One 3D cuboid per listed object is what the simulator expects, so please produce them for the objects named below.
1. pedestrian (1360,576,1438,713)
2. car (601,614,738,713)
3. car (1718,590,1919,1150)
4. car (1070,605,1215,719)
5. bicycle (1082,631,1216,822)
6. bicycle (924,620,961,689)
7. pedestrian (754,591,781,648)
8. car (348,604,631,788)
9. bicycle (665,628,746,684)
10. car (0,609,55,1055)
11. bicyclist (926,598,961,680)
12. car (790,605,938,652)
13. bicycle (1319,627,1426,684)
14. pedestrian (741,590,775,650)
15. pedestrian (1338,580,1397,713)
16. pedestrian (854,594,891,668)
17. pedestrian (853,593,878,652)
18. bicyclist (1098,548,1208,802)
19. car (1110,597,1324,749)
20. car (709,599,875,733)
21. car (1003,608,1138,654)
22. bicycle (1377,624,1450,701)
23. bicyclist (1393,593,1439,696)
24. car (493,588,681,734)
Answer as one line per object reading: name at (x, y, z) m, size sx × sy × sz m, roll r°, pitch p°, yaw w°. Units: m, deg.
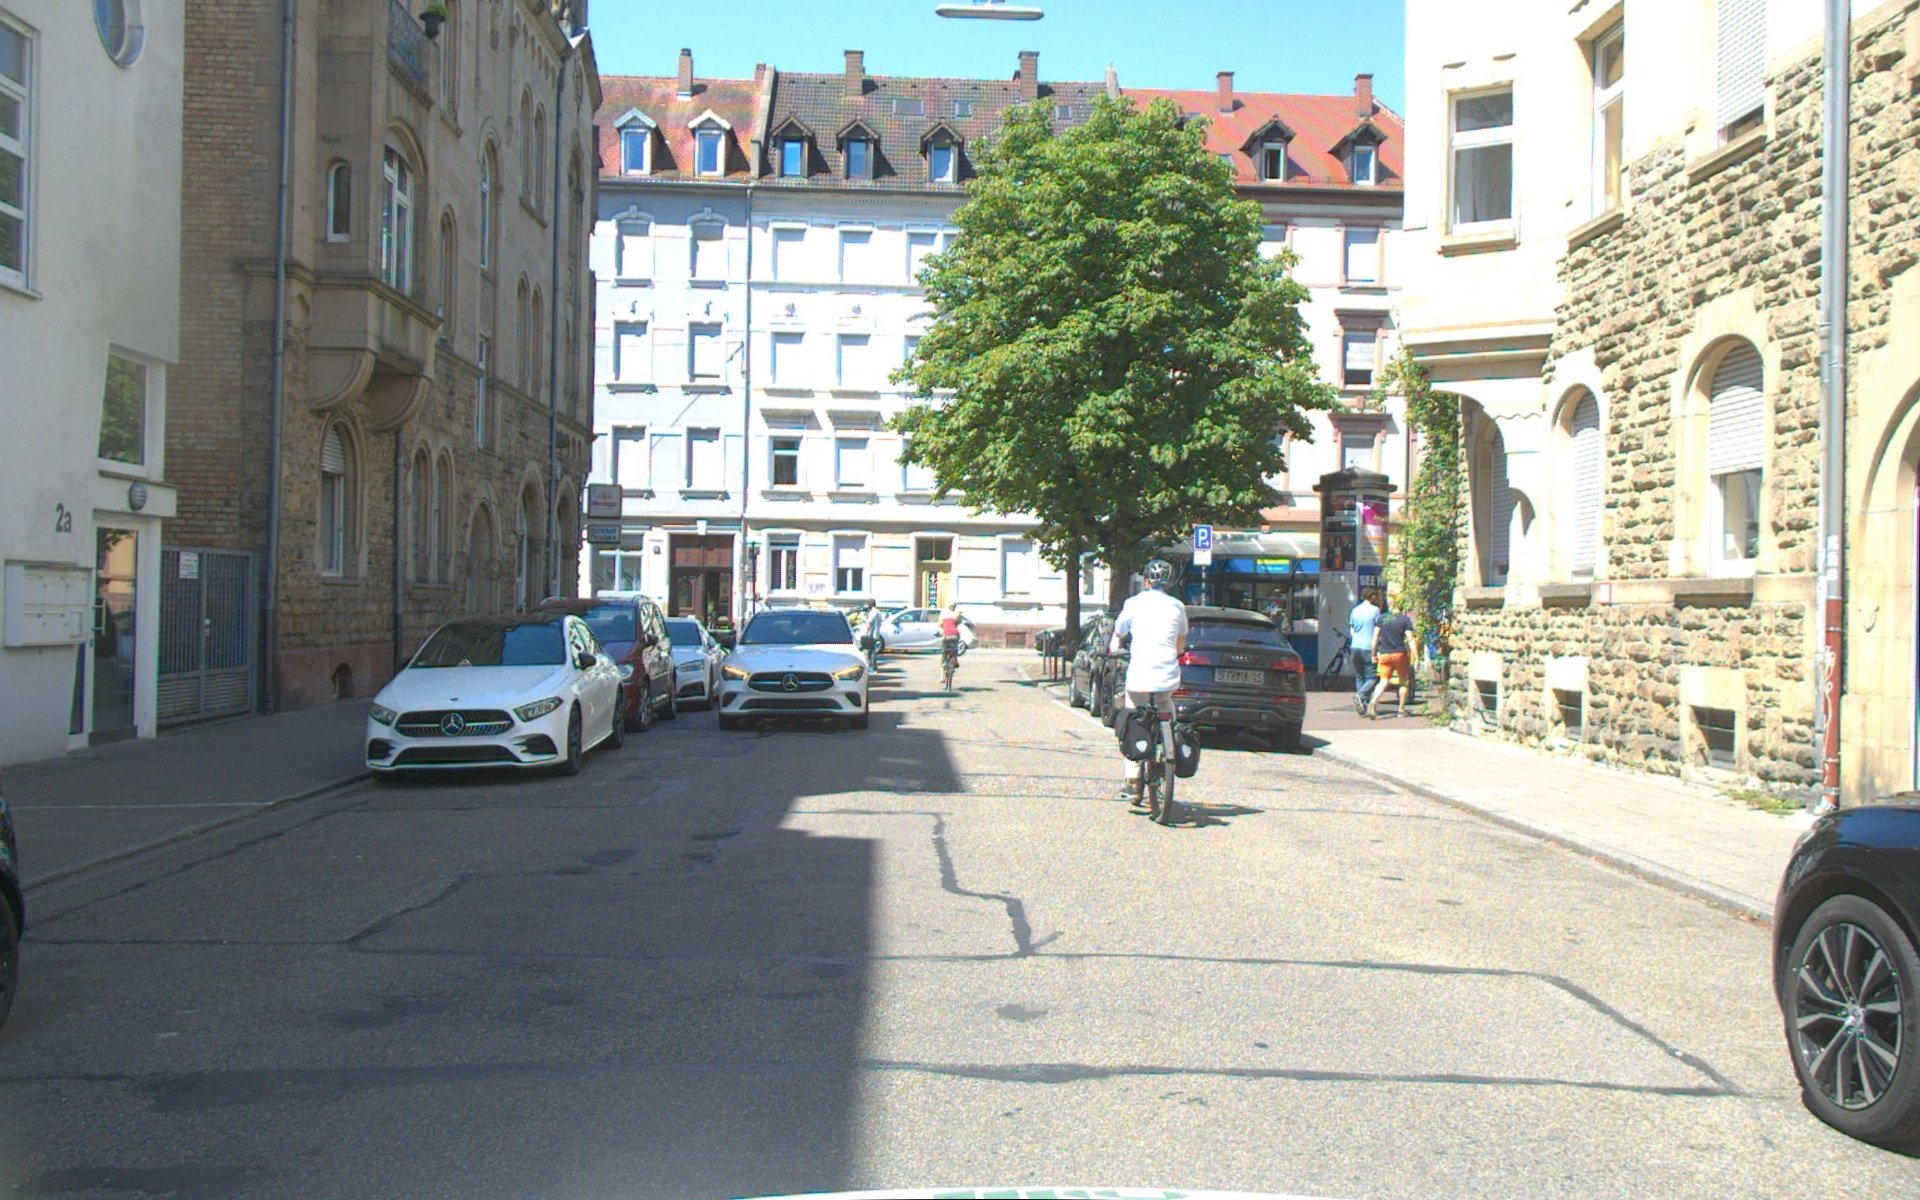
pedestrian at (6.239, 0.627, 23.521) m, size 0.867 × 1.913 × 0.597 m, roll 1°, pitch -1°, yaw -21°
car at (-4.486, 0.931, 26.072) m, size 1.668 × 1.376 × 4.511 m, roll -1°, pitch 0°, yaw -4°
car at (3.726, 0.810, 3.599) m, size 1.797 × 1.594 × 4.602 m, roll 3°, pitch -1°, yaw -3°
car at (2.778, 0.906, 25.962) m, size 1.630 × 1.567 × 4.176 m, roll 3°, pitch -1°, yaw -2°
bicycle at (1.381, 0.888, 12.521) m, size 0.638 × 1.250 × 2.441 m, roll 2°, pitch -1°, yaw -1°
bicycle at (-0.338, 1.024, 31.770) m, size 0.638 × 1.230 × 2.441 m, roll 2°, pitch -1°, yaw -1°
pedestrian at (-6.292, 0.624, 54.055) m, size 0.884 × 1.846 × 0.959 m, roll 0°, pitch -1°, yaw -7°
car at (-4.336, 0.815, 15.896) m, size 1.741 × 1.485 × 4.275 m, roll -1°, pitch 0°, yaw -4°
bicycle at (-5.026, 1.105, 32.705) m, size 1.496 × 1.025 × 0.366 m, roll 3°, pitch -1°, yaw -6°
car at (-3.986, 0.794, 4.022) m, size 1.535 × 1.518 × 3.892 m, roll -1°, pitch 0°, yaw -2°
bicyclist at (-0.313, 0.743, 31.738) m, size 0.657 × 1.560 × 0.609 m, roll 0°, pitch -1°, yaw -1°
car at (-3.117, 0.928, 54.221) m, size 4.762 × 1.462 × 1.999 m, roll 0°, pitch -1°, yaw -3°
bicycle at (7.833, 1.048, 31.449) m, size 1.862 × 1.057 × 0.633 m, roll 0°, pitch -1°, yaw -2°
pedestrian at (-6.481, 0.644, 53.116) m, size 0.832 × 1.922 × 0.936 m, roll 0°, pitch -1°, yaw 8°
pedestrian at (5.940, 0.676, 24.135) m, size 0.642 × 1.901 × 0.517 m, roll 1°, pitch -1°, yaw -21°
pedestrian at (-2.036, 0.725, 38.570) m, size 0.840 × 1.701 × 0.774 m, roll 0°, pitch -1°, yaw -2°
pedestrian at (-3.018, 0.721, 52.920) m, size 0.712 × 1.886 × 0.683 m, roll 1°, pitch -1°, yaw -12°
bicyclist at (1.409, 0.538, 12.176) m, size 0.657 × 1.791 × 0.609 m, roll 3°, pitch -1°, yaw -1°
car at (3.105, 0.840, 20.848) m, size 1.701 × 1.624 × 4.344 m, roll 3°, pitch -1°, yaw -4°
car at (-2.040, 0.775, 21.171) m, size 1.804 × 1.486 × 4.360 m, roll -1°, pitch 0°, yaw -2°
car at (3.564, 0.999, 53.821) m, size 4.208 × 1.394 × 1.806 m, roll 0°, pitch 2°, yaw -3°
bicycle at (7.511, 0.997, 27.311) m, size 0.778 × 1.189 × 2.577 m, roll 0°, pitch -1°, yaw 24°
bicyclist at (7.528, 0.720, 27.324) m, size 0.664 × 1.676 × 0.662 m, roll 0°, pitch -1°, yaw 22°
car at (-4.537, 0.703, 20.647) m, size 1.639 × 1.610 × 4.049 m, roll -1°, pitch 0°, yaw -4°
